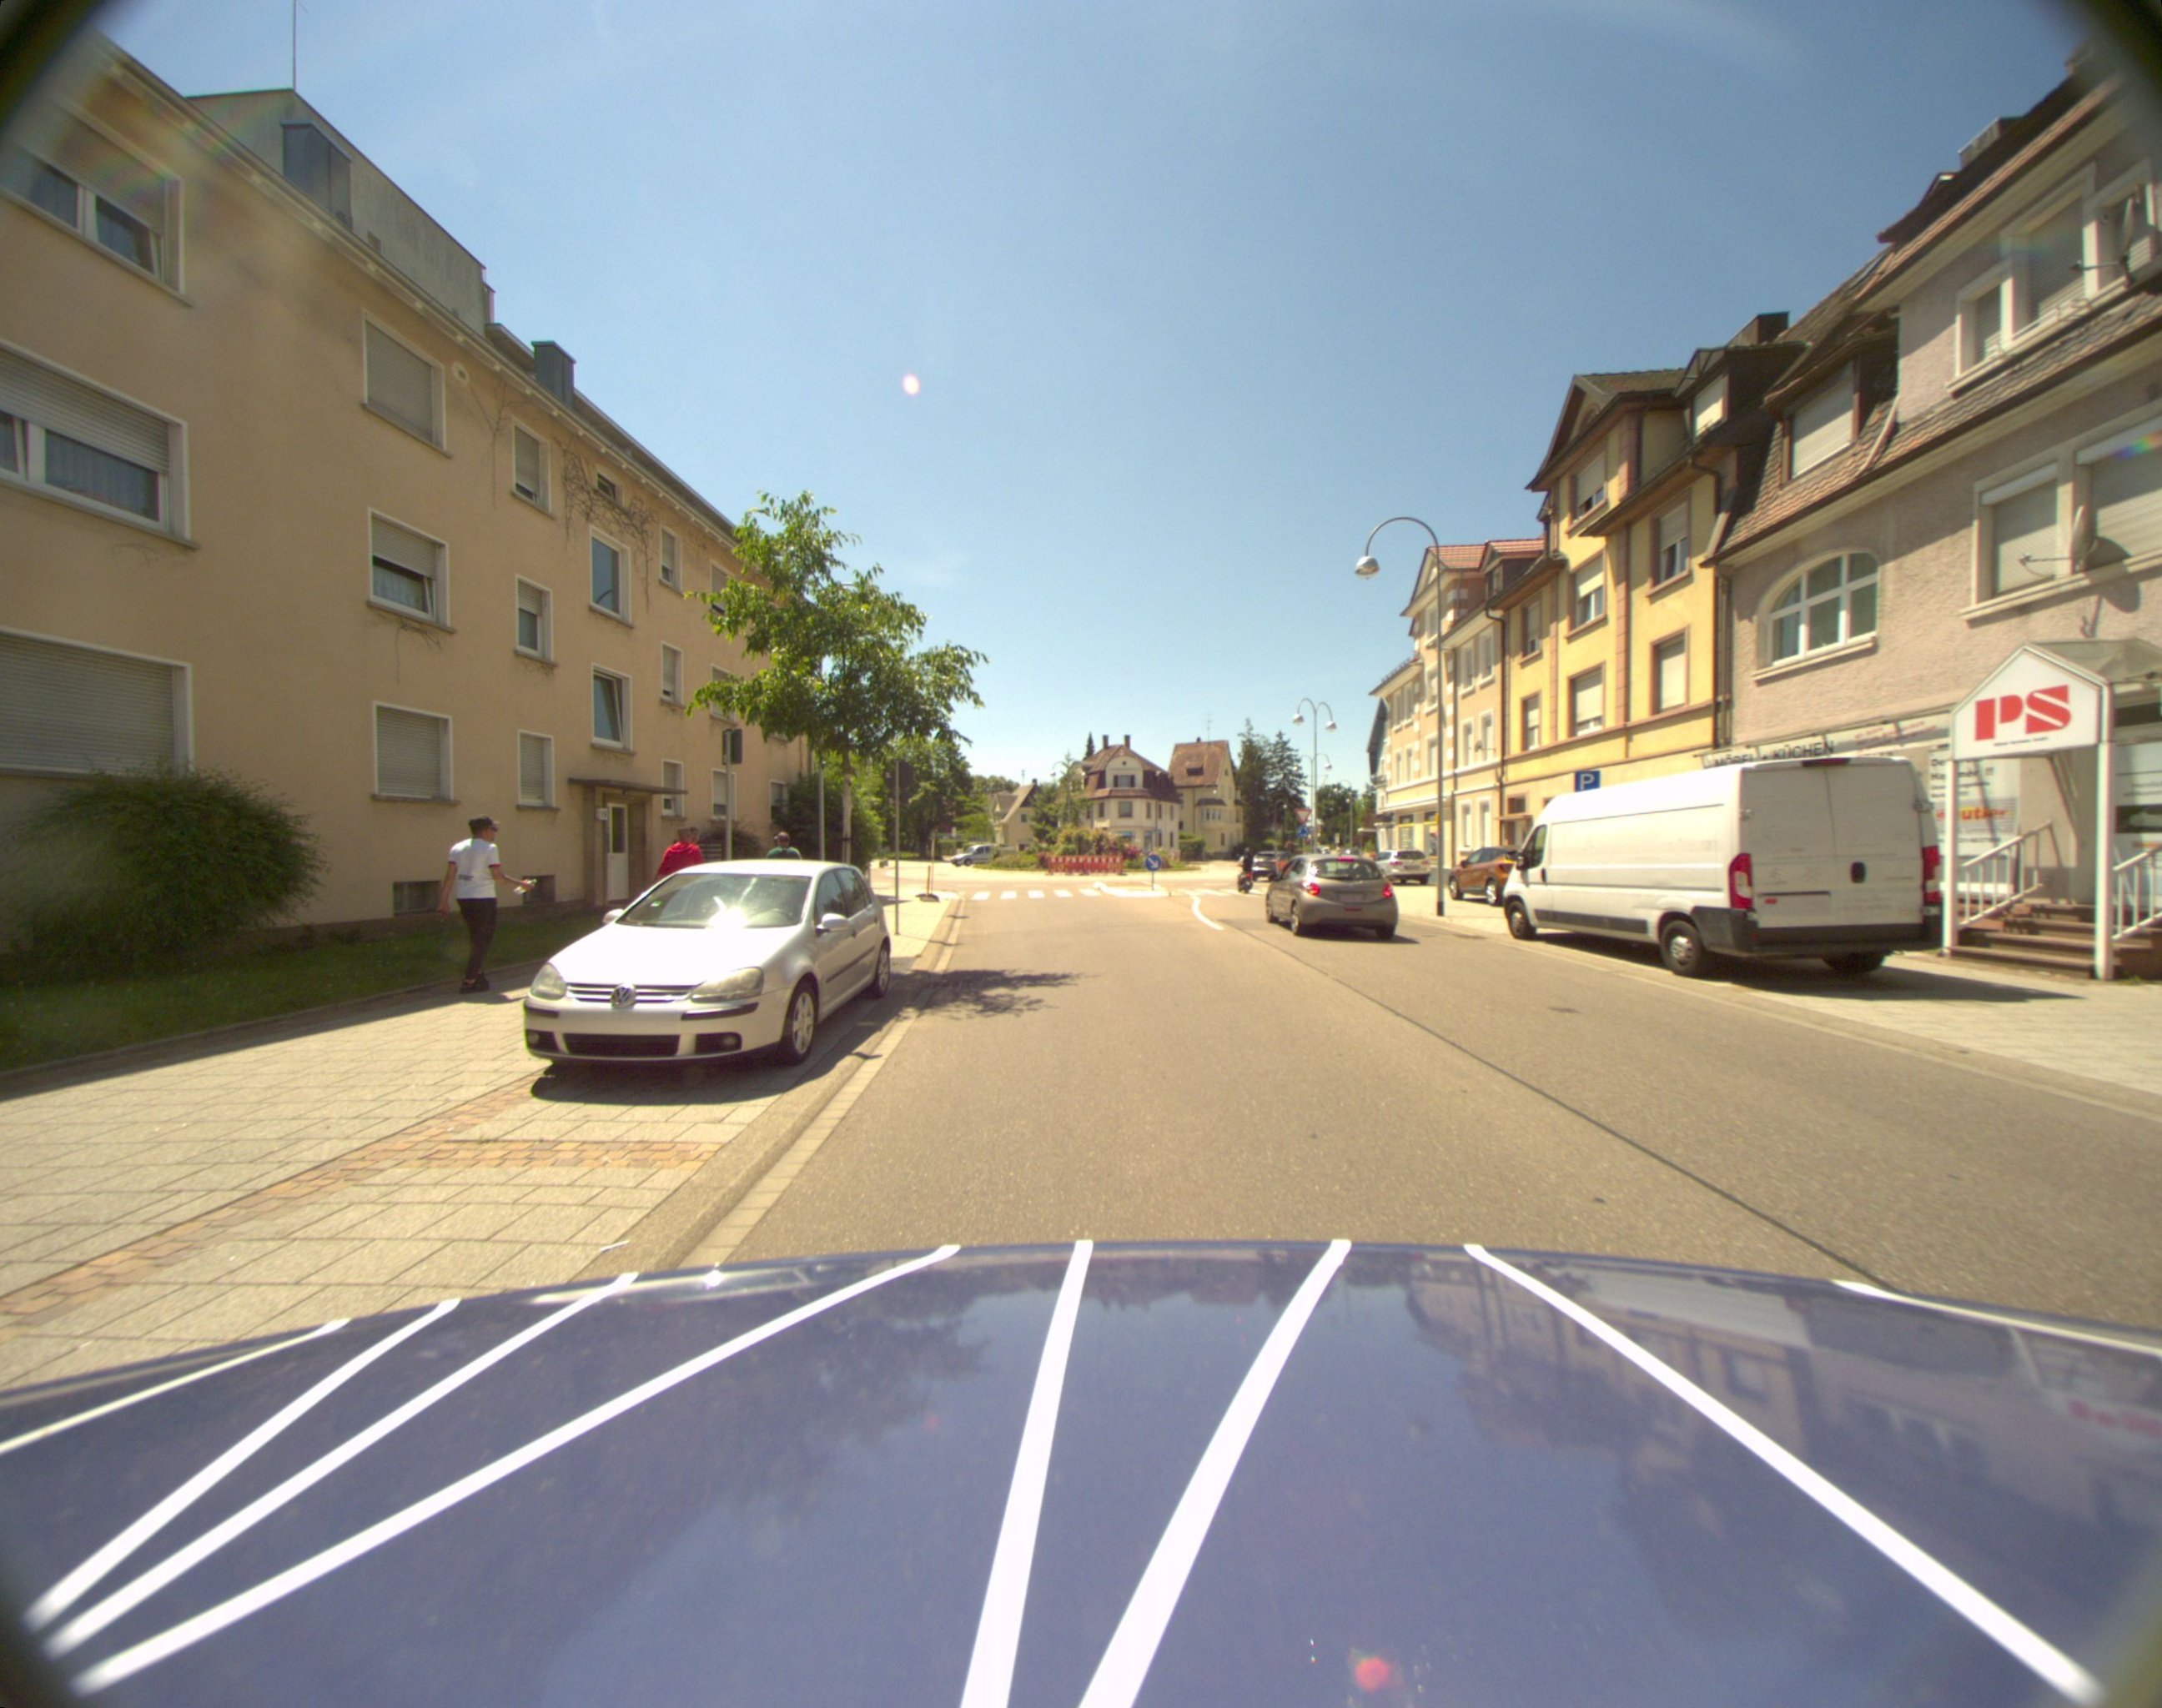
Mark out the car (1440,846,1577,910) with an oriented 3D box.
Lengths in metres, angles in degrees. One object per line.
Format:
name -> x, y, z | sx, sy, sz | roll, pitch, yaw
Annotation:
car -> 11.536, 0.593, 20.836 | 1.798, 1.532, 4.117 | -1, 0, 7

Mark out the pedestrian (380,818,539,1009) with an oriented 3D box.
pedestrian -> -6.355, 0.575, 7.834 | 0.822, 1.843, 0.984 | 0, 1, -2

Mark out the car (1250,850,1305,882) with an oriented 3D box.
car -> 10.467, 0.591, 40.302 | 1.796, 1.481, 4.398 | 1, 2, 29

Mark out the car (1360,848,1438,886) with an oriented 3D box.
car -> 13.574, 0.520, 32.702 | 1.798, 1.494, 4.949 | -1, 0, 7

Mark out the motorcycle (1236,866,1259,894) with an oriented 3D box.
motorcycle -> 6.196, 0.952, 28.292 | 0.607, 0.994, 1.800 | 0, 1, 5

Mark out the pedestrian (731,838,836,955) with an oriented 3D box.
pedestrian -> -4.693, 0.639, 12.087 | 1.174, 1.723, 1.191 | 2, 1, -3

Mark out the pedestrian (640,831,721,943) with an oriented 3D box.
pedestrian -> -6.576, 0.521, 12.523 | 0.795, 1.768, 1.008 | 0, 1, -2

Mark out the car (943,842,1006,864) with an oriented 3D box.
car -> -8.406, -0.094, 60.049 | 4.576, 1.727, 1.994 | 0, 1, -37

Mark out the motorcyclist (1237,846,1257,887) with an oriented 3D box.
motorcyclist -> 6.197, 0.466, 28.408 | 0.603, 1.516, 0.896 | 0, 1, 4

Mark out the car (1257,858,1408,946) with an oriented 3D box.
car -> 4.595, 0.799, 14.482 | 1.735, 1.403, 4.001 | 2, 0, 4

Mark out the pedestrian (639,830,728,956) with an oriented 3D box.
pedestrian -> -6.001, 0.567, 11.521 | 0.790, 1.801, 1.006 | 2, 1, -2

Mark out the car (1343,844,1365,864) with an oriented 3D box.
car -> 28.858, -0.044, 80.221 | 1.995, 1.838, 4.004 | 0, 3, 23

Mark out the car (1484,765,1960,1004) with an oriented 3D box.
car -> 8.278, 0.311, 10.972 | 2.123, 2.435, 6.119 | -2, 0, 6

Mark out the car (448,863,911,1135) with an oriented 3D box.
car -> -2.873, 0.892, 6.746 | 1.818, 1.468, 4.505 | 1, 1, -2
